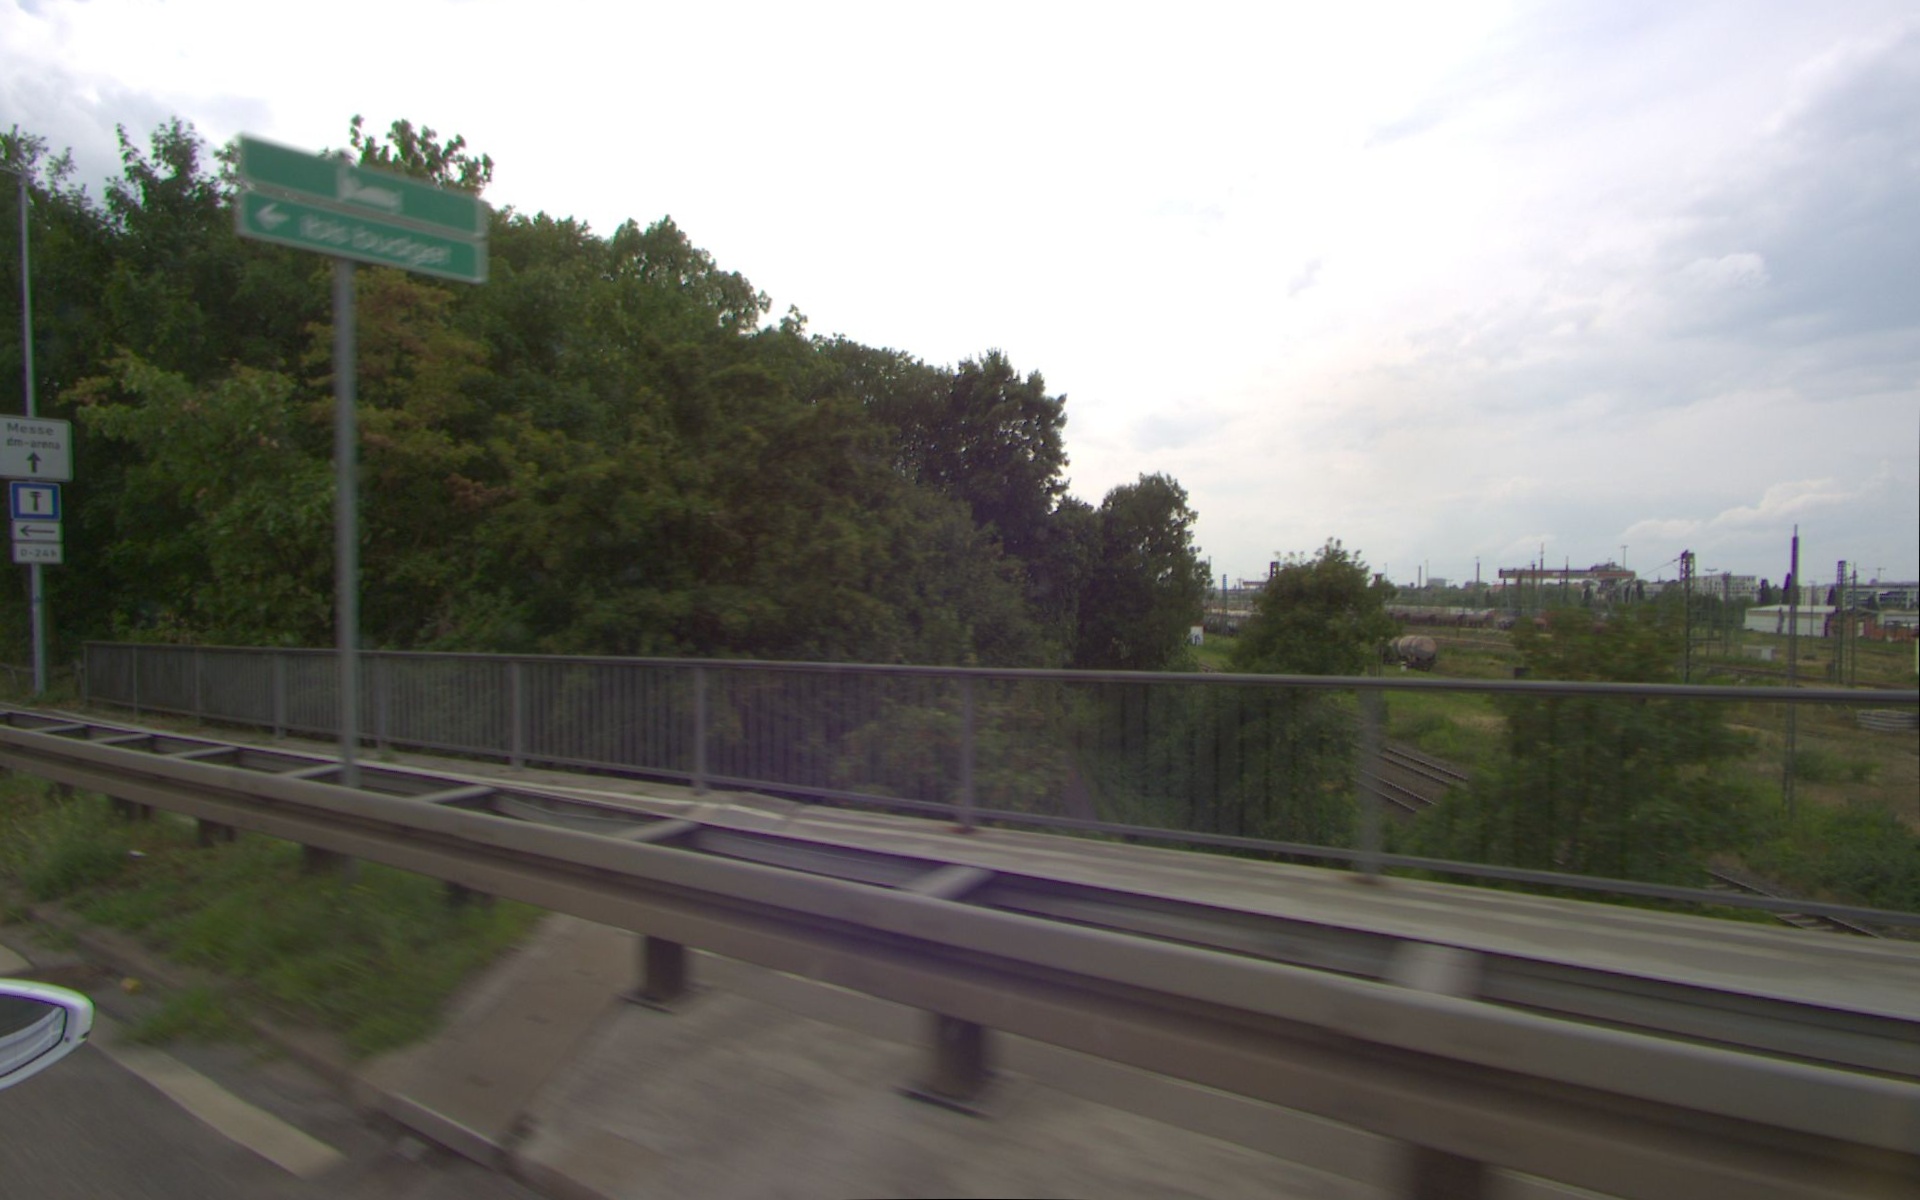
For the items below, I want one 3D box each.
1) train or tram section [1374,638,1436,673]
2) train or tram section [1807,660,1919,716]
[{"bbox_3d":[58.912,7.278,132.948,3.189,4.221,11.390,1,-2,0],"label":"train or tram section"},{"bbox_3d":[105.144,9.761,110.499,3.915,5.550,25.701,0,-2,5],"label":"train or tram section"}]
